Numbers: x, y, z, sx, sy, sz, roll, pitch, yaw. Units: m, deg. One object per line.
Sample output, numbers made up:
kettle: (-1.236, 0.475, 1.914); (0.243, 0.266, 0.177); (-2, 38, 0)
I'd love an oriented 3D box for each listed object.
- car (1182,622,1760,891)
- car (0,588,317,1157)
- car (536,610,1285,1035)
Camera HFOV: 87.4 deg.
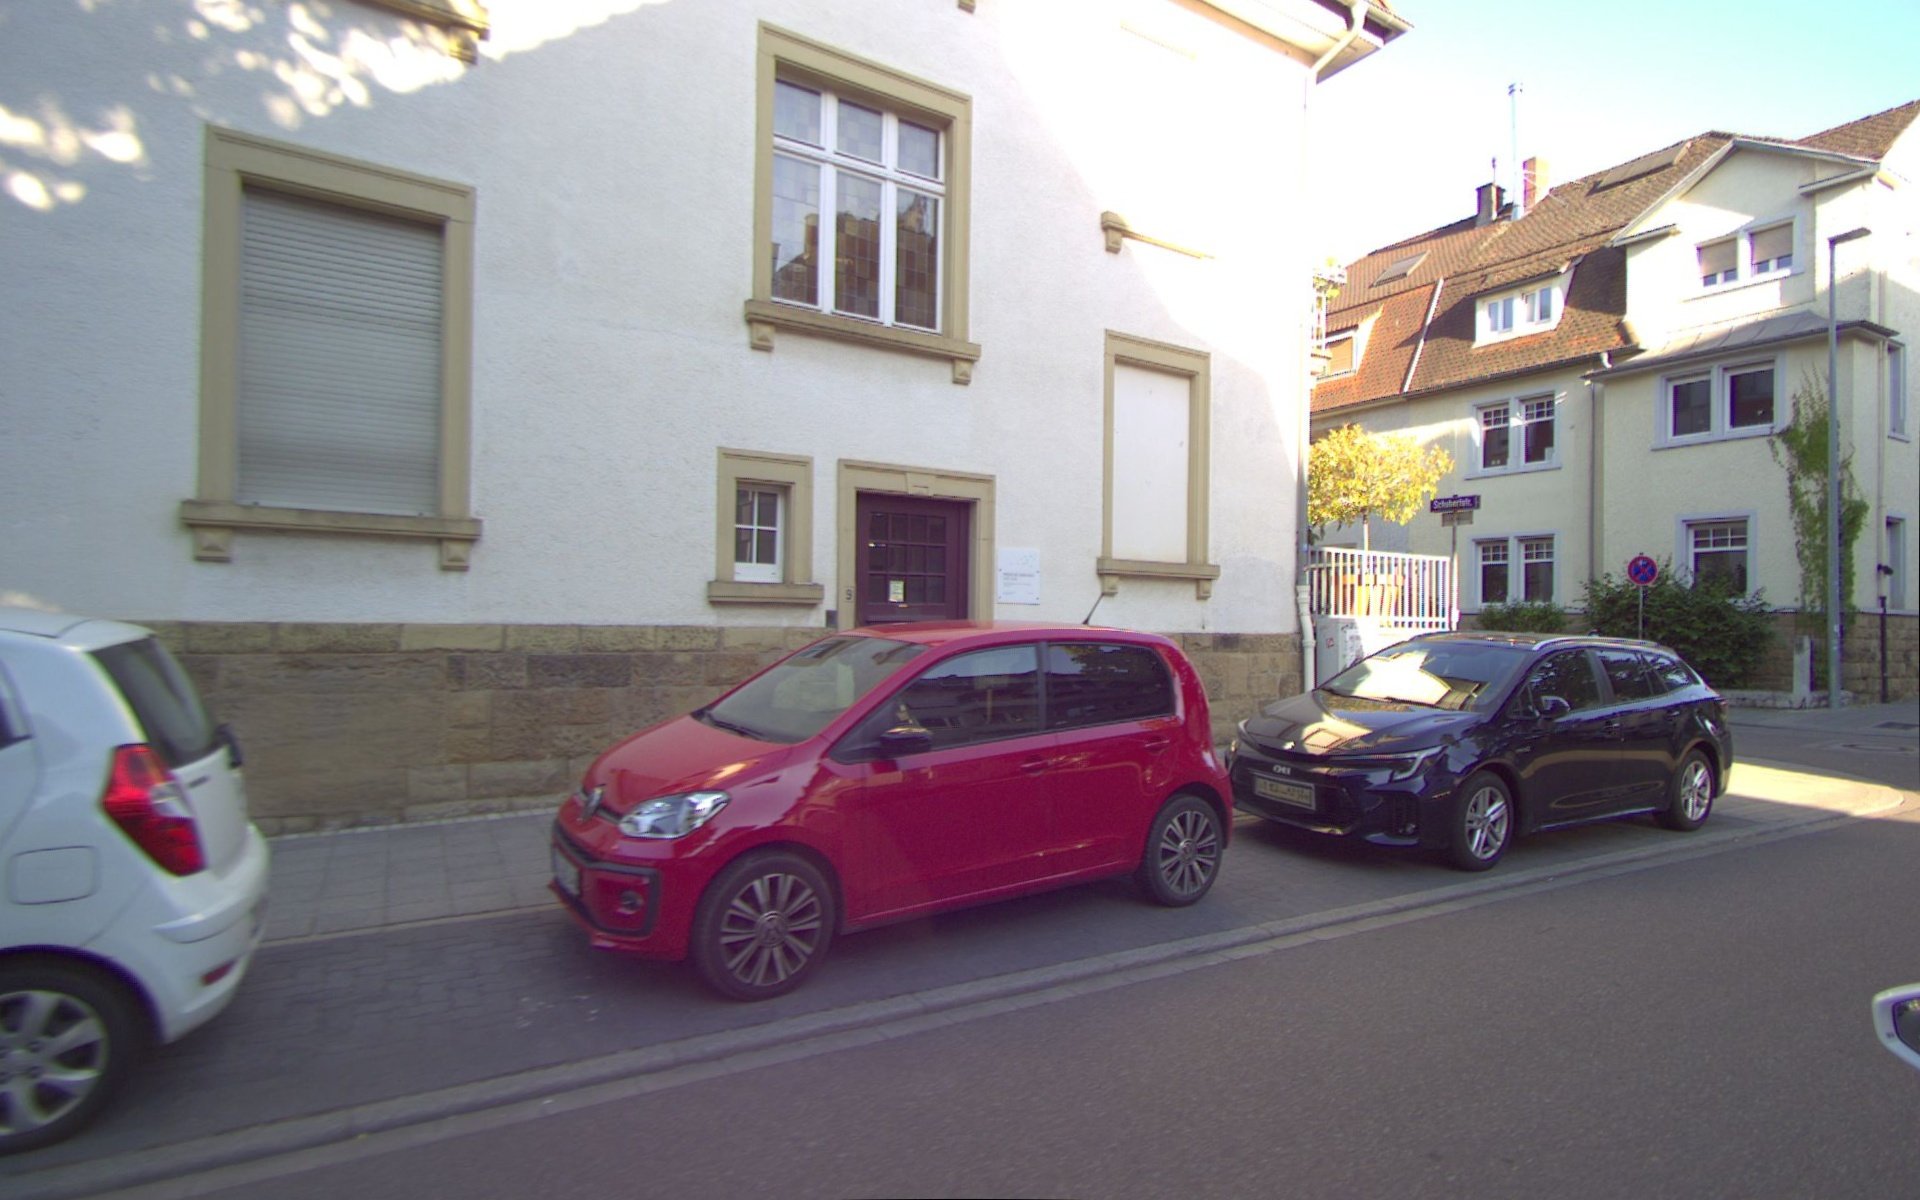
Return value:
car: (3.957, 0.944, 7.538); (4.576, 1.473, 1.645); (1, 0, -30)
car: (-4.003, 0.718, 2.786); (3.665, 1.541, 1.573); (1, 0, -32)
car: (-0.119, 0.839, 5.299); (3.668, 1.496, 1.571); (1, 0, -34)
